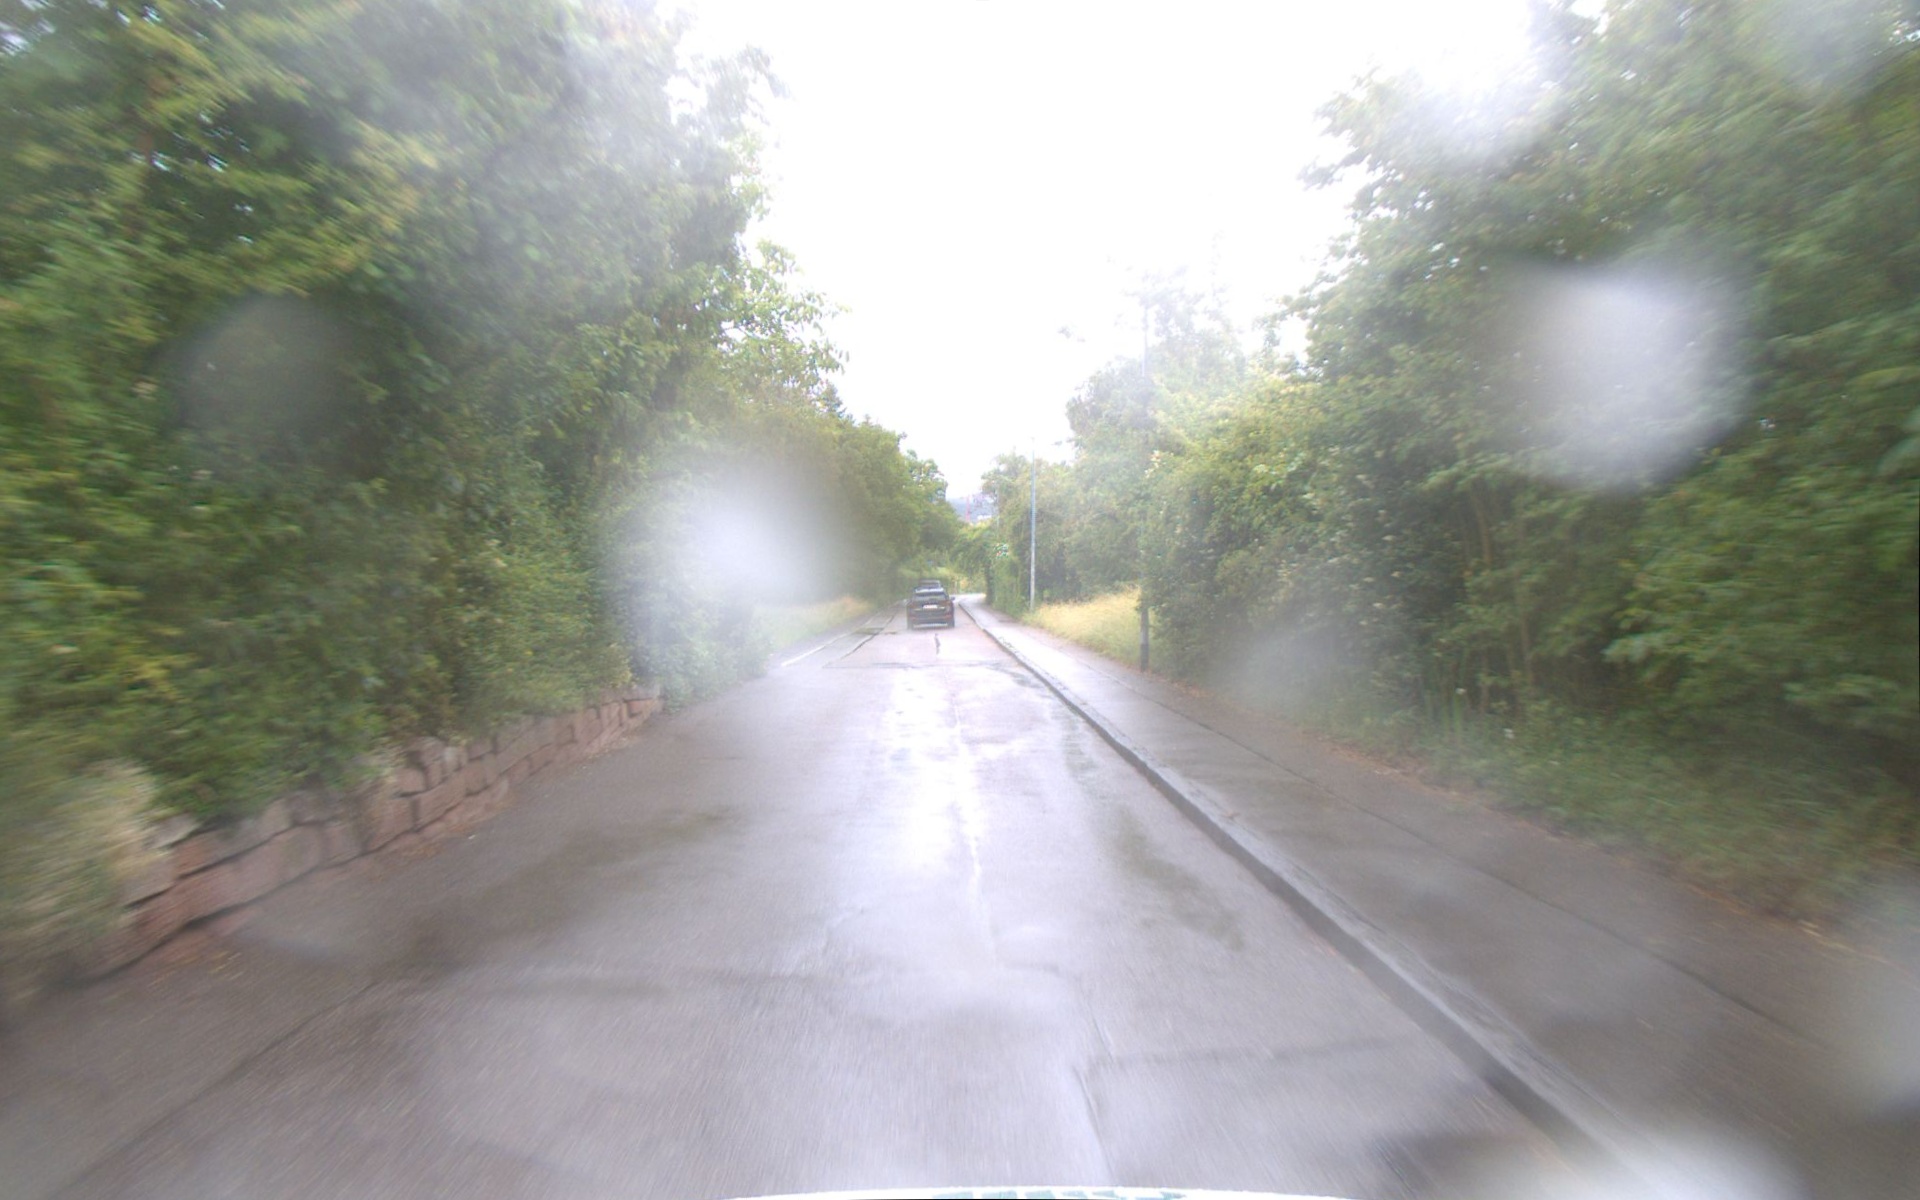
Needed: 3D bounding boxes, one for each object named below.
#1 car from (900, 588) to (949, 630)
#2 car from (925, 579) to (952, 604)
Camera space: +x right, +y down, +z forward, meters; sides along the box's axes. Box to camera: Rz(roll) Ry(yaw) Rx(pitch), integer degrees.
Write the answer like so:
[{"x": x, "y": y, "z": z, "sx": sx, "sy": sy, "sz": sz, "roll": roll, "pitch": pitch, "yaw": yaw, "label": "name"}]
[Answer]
[{"x": -1.279, "y": 0.336, "z": 60.733, "sx": 1.601, "sy": 1.475, "sz": 3.545, "roll": 0, "pitch": -1, "yaw": 1, "label": "car"}, {"x": -1.329, "y": -0.501, "z": 101.473, "sx": 1.601, "sy": 1.439, "sz": 3.544, "roll": 0, "pitch": -1, "yaw": 0, "label": "car"}]
